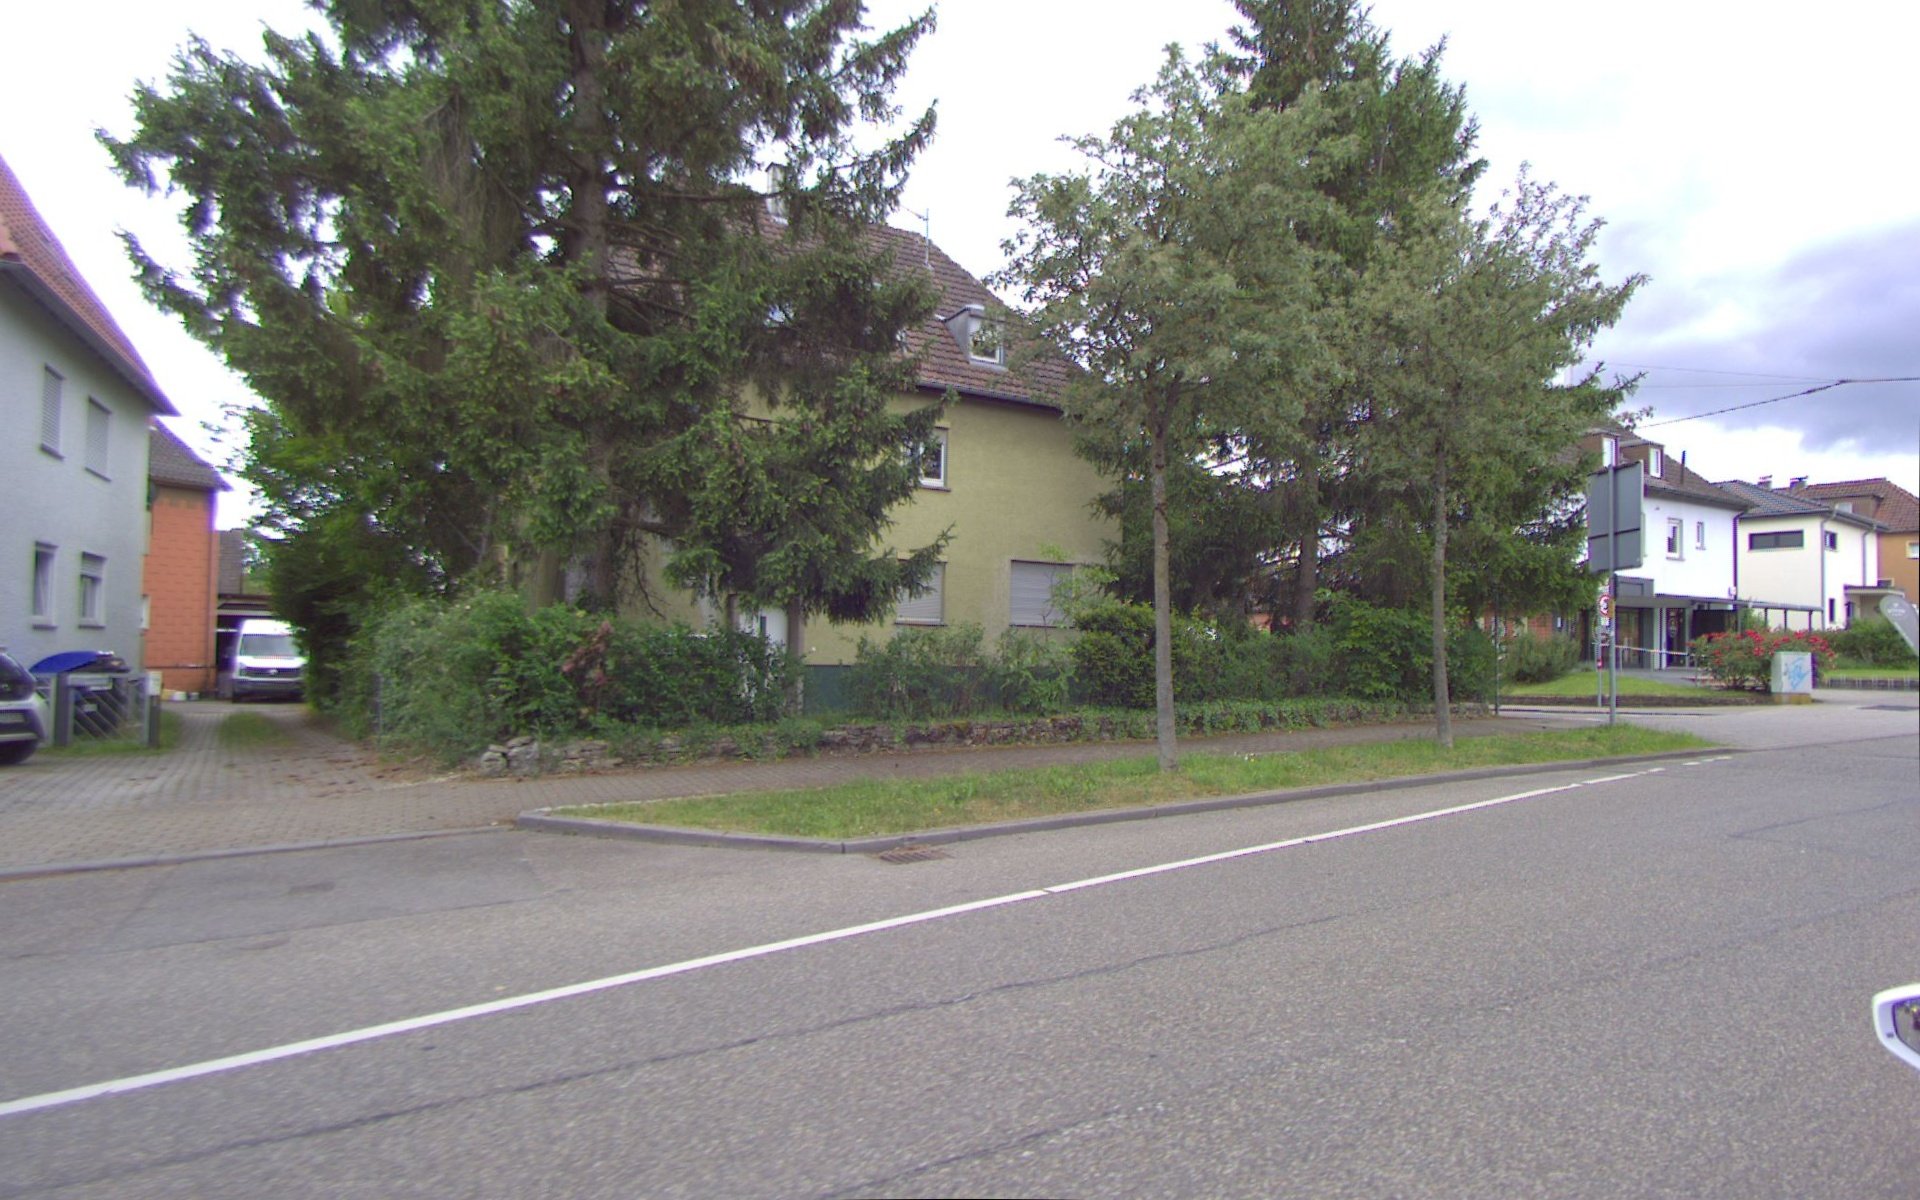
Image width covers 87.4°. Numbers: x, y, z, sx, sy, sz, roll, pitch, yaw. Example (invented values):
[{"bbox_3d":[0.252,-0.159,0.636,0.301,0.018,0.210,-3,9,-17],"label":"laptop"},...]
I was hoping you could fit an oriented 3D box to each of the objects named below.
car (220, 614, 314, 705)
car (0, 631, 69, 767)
[{"bbox_3d":[-22.060,1.845,32.082,2.237,2.620,5.554,1,-3,-34],"label":"car"},{"bbox_3d":[-12.377,1.097,11.102,3.367,1.505,1.627,1,-2,-14],"label":"car"}]
